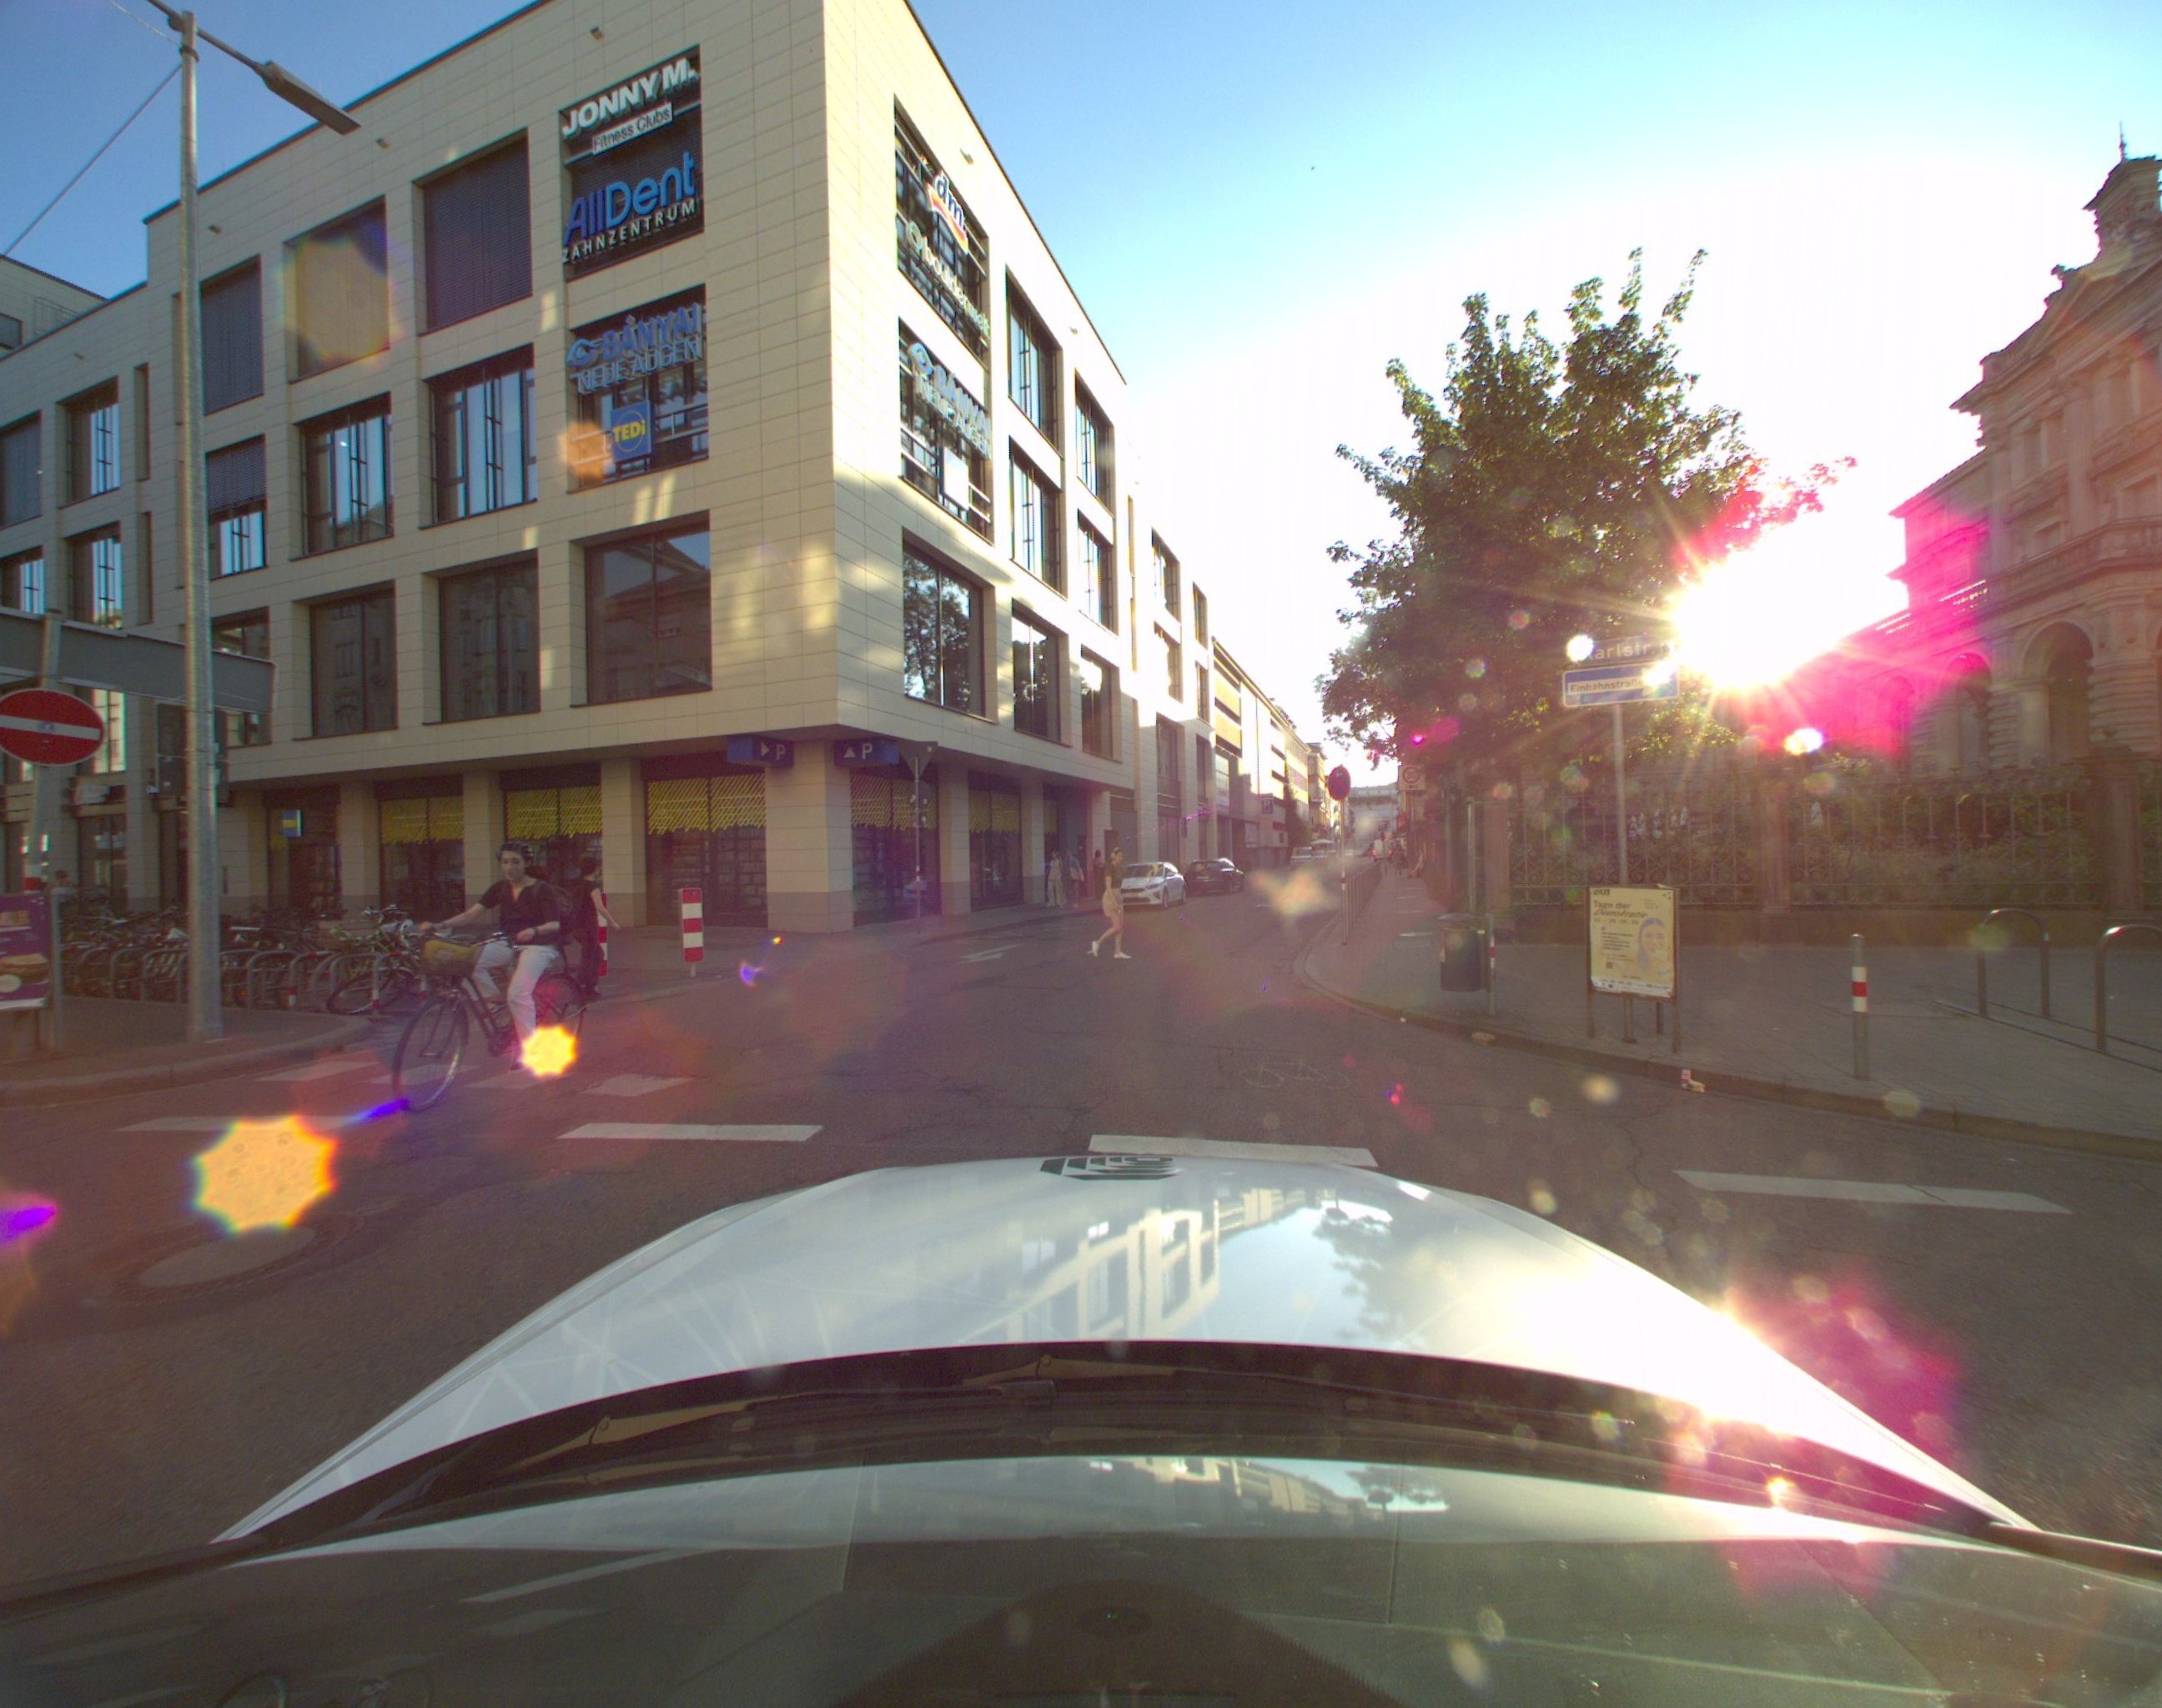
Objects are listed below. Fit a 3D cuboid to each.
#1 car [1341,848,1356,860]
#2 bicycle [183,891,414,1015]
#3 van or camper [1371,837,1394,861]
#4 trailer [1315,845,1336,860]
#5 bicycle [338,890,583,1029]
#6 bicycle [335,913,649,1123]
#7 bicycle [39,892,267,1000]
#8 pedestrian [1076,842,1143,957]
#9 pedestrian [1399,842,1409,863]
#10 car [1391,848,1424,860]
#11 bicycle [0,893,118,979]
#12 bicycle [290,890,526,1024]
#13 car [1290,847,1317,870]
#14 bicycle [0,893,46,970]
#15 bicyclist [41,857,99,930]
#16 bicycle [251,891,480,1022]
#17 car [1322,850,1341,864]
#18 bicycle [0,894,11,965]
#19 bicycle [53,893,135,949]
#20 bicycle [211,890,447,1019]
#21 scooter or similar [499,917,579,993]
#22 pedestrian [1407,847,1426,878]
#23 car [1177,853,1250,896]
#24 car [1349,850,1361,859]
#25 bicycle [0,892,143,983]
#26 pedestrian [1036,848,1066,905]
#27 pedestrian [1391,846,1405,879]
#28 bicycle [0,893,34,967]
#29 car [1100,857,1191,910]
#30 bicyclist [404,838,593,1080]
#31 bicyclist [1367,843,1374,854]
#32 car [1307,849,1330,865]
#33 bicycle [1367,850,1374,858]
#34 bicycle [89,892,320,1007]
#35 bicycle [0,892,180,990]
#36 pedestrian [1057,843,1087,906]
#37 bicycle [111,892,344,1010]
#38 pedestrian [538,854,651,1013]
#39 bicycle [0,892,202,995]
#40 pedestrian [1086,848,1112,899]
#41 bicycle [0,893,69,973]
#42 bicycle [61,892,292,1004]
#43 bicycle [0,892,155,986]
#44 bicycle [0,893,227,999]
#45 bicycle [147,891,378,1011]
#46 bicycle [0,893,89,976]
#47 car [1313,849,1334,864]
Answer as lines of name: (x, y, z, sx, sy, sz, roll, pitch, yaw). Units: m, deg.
car: (41.174, 0.009, 125.372, 1.976, 1.684, 4.021, -1, -1, 21)
bicycle: (-9.304, 1.115, 9.810, 0.507, 1.255, 1.988, -1, -1, 19)
van or camper: (36.749, -0.599, 99.119, 2.238, 2.607, 5.138, -6, -2, 21)
trailer: (26.730, -0.147, 89.019, 1.977, 1.557, 4.020, -1, -1, 20)
bicycle: (-6.684, 1.064, 8.952, 0.658, 1.255, 2.150, -1, -1, 17)
bicycle: (-4.077, 1.056, 5.852, 0.659, 1.138, 1.828, -1, -1, 13)
bicycle: (-12.510, 1.186, 11.085, 0.507, 1.255, 1.988, -1, -1, 19)
pedestrian: (0.441, 0.691, 12.826, 0.640, 1.723, 0.836, -1, 0, -35)
pedestrian: (26.457, -0.111, 66.654, 0.656, 1.666, 0.627, -4, -1, 21)
car: (43.328, 0.000, 108.052, 3.953, 1.420, 1.665, -1, -1, 21)
bicycle: (-16.408, 1.262, 12.538, 0.507, 1.255, 1.988, -1, -1, 19)
bicycle: (-7.423, 1.073, 9.141, 0.576, 1.255, 2.053, -1, -1, 17)
car: (19.124, 0.358, 69.838, 1.868, 1.912, 4.771, -2, 0, 19)
bicycle: (-18.290, 1.300, 13.078, 0.507, 1.255, 1.988, -1, -1, 19)
bicyclist: (-24.069, 0.919, 19.392, 0.637, 1.695, 0.688, -1, 0, 21)
bicycle: (-8.040, 1.085, 9.291, 0.508, 1.255, 1.988, -1, -1, 17)
car: (28.689, 0.322, 93.268, 1.868, 1.453, 4.020, -2, 0, 20)
bicycle: (-19.763, 1.347, 13.751, 0.507, 1.255, 1.988, -1, -1, 19)
bicycle: (-23.589, 1.582, 19.453, 1.956, 1.255, 0.615, -1, -1, 20)
bicycle: (-8.630, 1.090, 9.475, 0.507, 1.255, 1.989, -1, -1, 21)
scooter or similar: (-6.986, 1.284, 10.521, 0.383, 0.884, 0.774, -1, -1, 19)
pedestrian: (17.037, 0.420, 41.319, 0.743, 1.500, 0.621, -3, -1, 16)
car: (5.585, 0.810, 33.799, 1.867, 1.598, 4.715, -2, 0, 23)
car: (49.336, 0.105, 146.609, 1.976, 1.684, 4.021, -1, -1, 21)
bicycle: (-15.764, 1.249, 12.333, 0.507, 1.255, 1.988, -1, -1, 19)
pedestrian: (-0.890, 0.658, 24.185, 0.666, 1.675, 0.650, -1, 0, 18)
pedestrian: (16.284, 0.426, 41.841, 0.480, 1.658, 0.621, -3, -1, 14)
bicycle: (-18.993, 1.317, 13.472, 0.507, 1.255, 1.988, -1, -1, 19)
car: (2.127, 0.869, 25.545, 1.763, 1.453, 4.252, -2, 0, 20)
bicyclist: (-4.106, 0.688, 5.793, 0.653, 1.570, 0.866, -1, -1, 14)
bicyclist: (48.809, -0.903, 137.418, 0.981, 1.868, 0.712, -1, -1, 21)
car: (23.457, 0.257, 80.396, 1.868, 1.453, 4.020, -2, 0, 20)
bicycle: (48.881, 0.005, 137.524, 0.967, 1.280, 2.768, -1, -1, 21)
bicycle: (-11.168, 1.161, 10.491, 0.507, 1.255, 1.988, -1, -1, 19)
bicycle: (-14.607, 1.224, 11.832, 0.507, 1.255, 1.988, -1, -1, 19)
pedestrian: (-0.257, 0.598, 23.929, 0.666, 1.836, 0.650, -1, 0, 18)
bicycle: (-10.646, 1.149, 10.272, 0.507, 1.255, 1.988, -1, -1, 19)
pedestrian: (-5.413, 0.839, 9.075, 0.610, 1.658, 0.878, -2, -1, 33)
bicycle: (-13.903, 1.205, 11.501, 0.507, 1.255, 1.988, -1, -1, 19)
pedestrian: (0.639, 0.681, 28.278, 0.666, 1.744, 0.651, -2, -1, 21)
bicycle: (-17.687, 1.288, 12.909, 0.507, 1.255, 1.988, -1, -1, 19)
bicycle: (-11.826, 1.176, 10.755, 0.507, 1.255, 1.988, -1, -1, 19)
bicycle: (-15.188, 1.225, 11.992, 0.507, 1.255, 1.988, -1, -1, 19)
bicycle: (-13.311, 1.208, 11.302, 0.507, 1.255, 1.988, -1, -1, 18)
bicycle: (-10.027, 1.130, 10.098, 0.507, 1.255, 1.988, -1, -1, 18)
bicycle: (-17.120, 1.275, 12.730, 0.507, 1.255, 1.988, -1, -1, 19)
car: (25.327, 0.265, 84.873, 1.868, 1.453, 4.020, -2, 0, 20)
